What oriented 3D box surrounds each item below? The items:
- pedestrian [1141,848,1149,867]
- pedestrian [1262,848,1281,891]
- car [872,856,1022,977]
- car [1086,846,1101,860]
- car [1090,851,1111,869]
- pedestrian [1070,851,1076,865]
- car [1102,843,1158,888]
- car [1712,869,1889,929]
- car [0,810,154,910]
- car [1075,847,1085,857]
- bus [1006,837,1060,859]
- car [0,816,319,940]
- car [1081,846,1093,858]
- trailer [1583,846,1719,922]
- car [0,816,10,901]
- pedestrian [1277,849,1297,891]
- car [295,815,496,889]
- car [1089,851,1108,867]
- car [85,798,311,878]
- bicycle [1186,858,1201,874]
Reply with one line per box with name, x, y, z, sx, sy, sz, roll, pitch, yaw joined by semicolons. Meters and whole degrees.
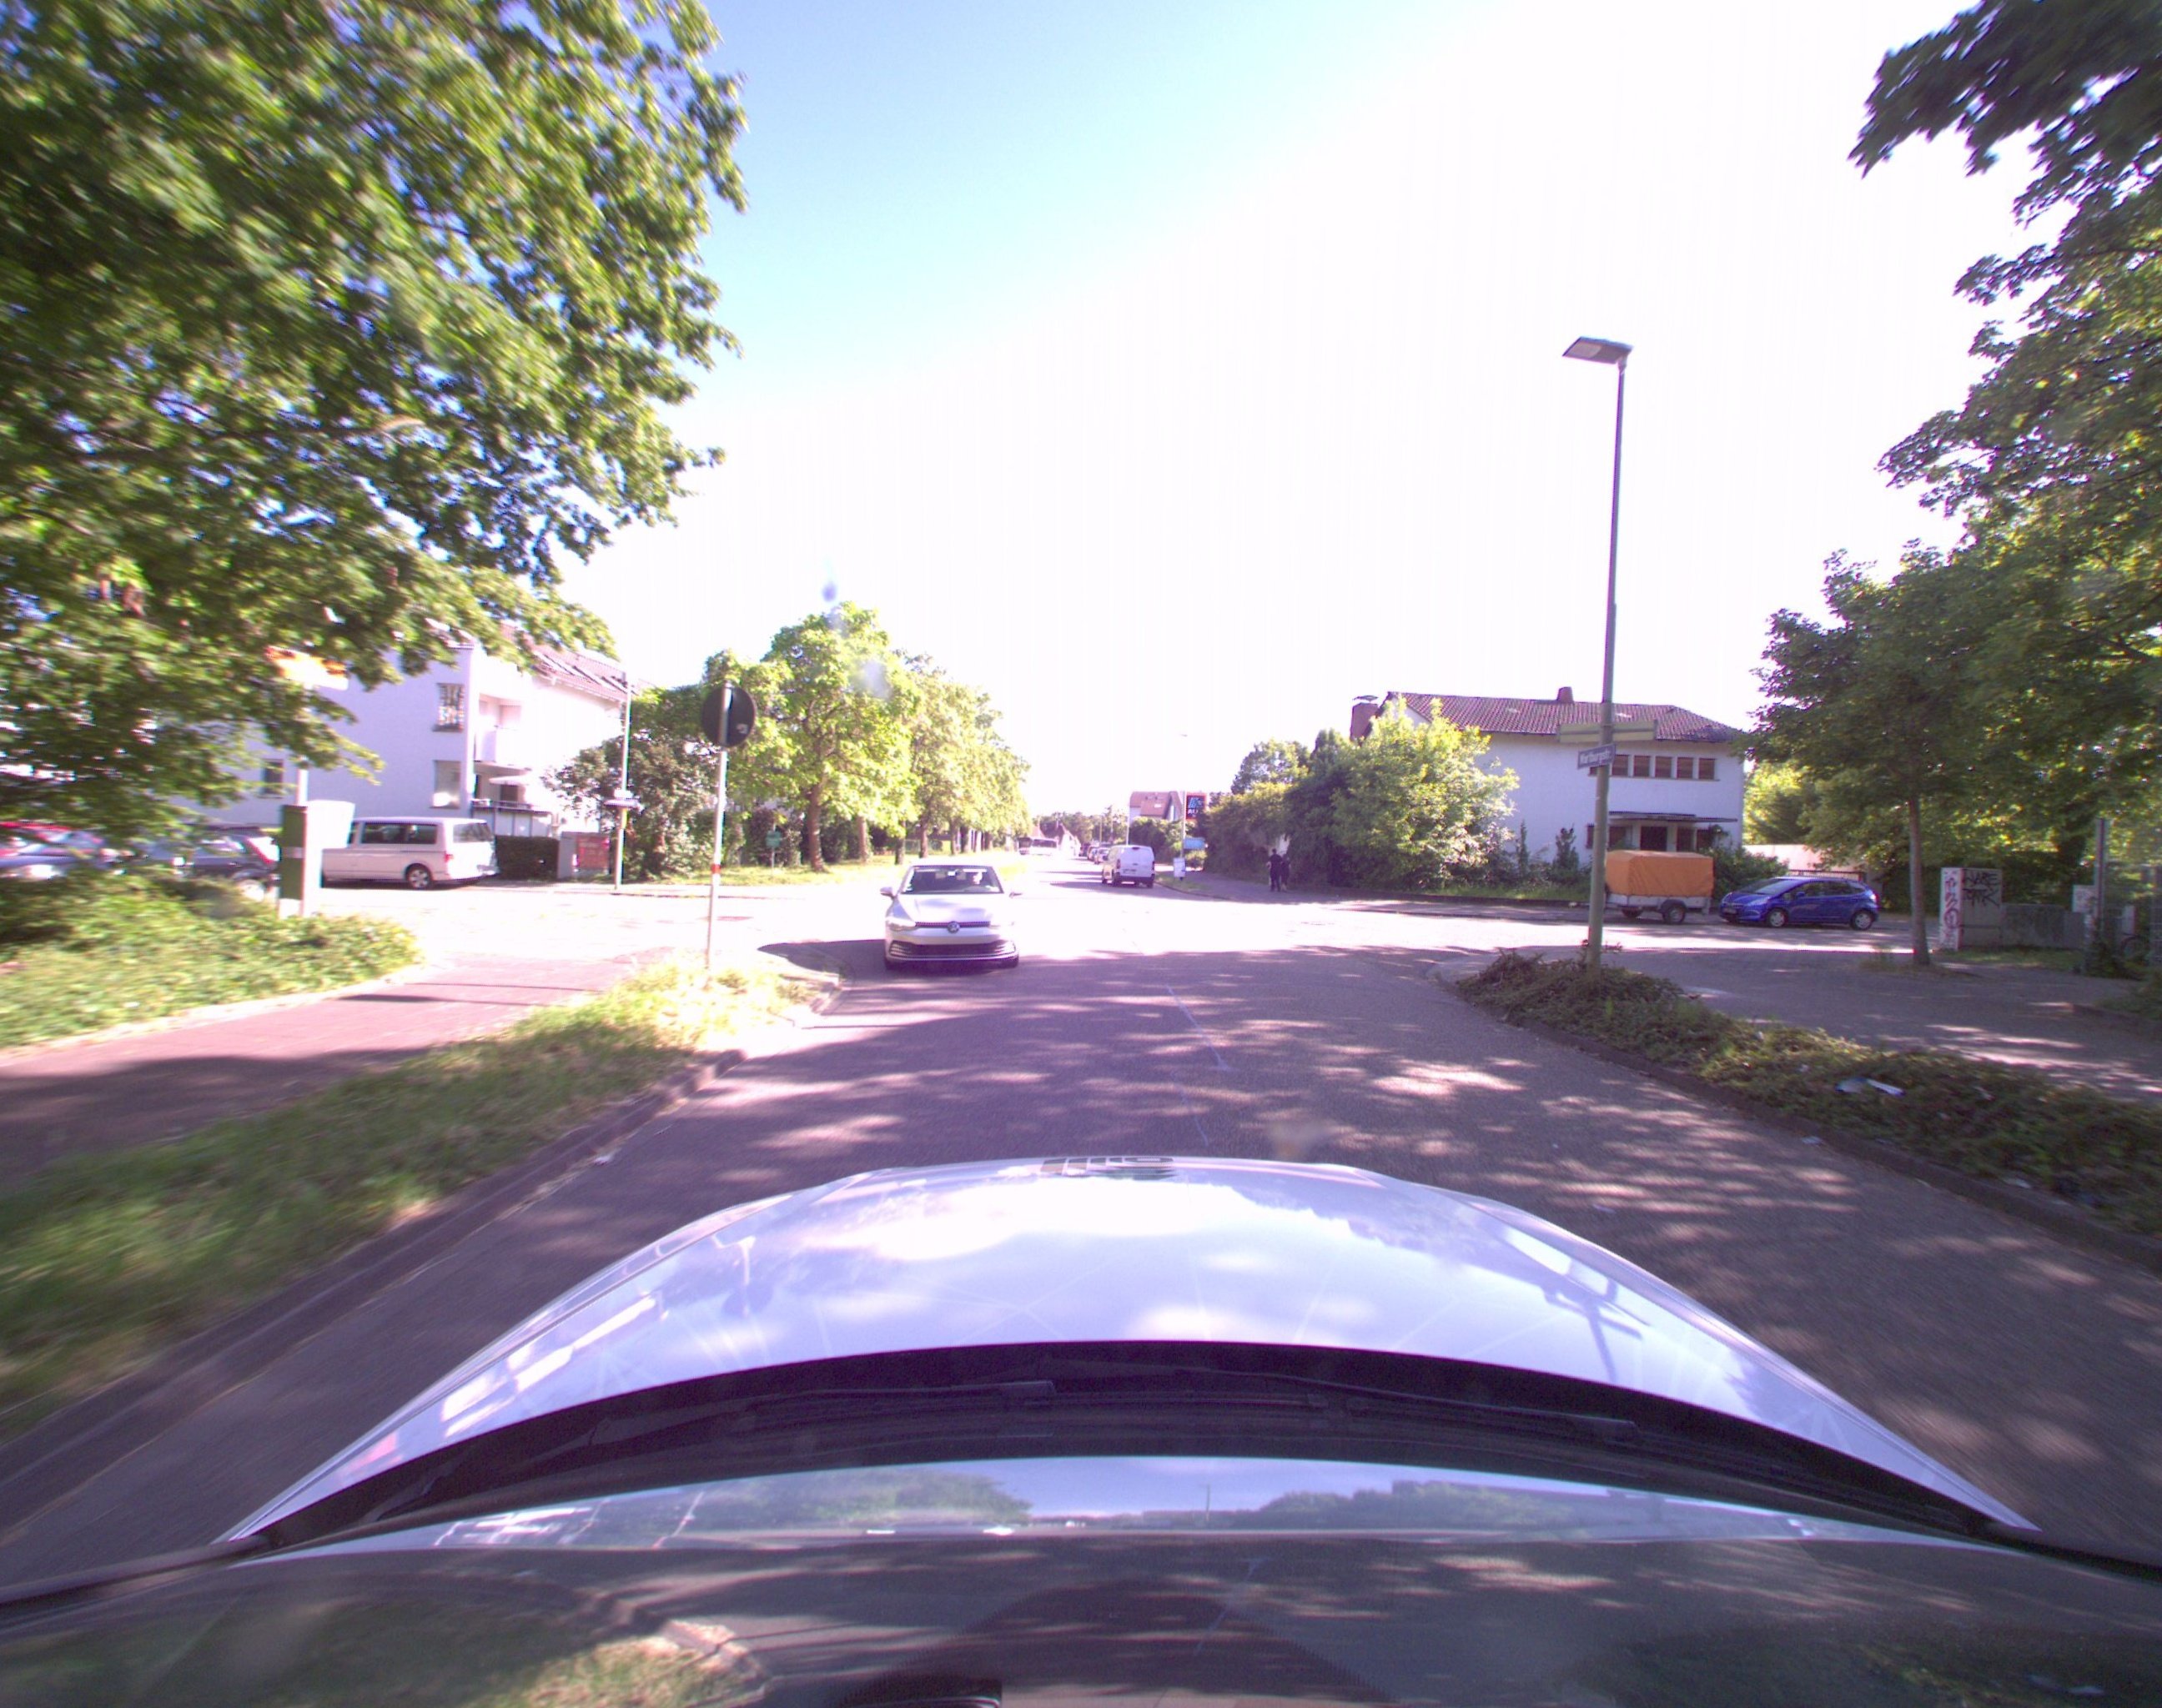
pedestrian;6.828;0.347;86.767;0.641;2.013;0.699;4;0;-8
pedestrian;7.633;0.609;32.628;0.569;1.682;0.513;2;0;-5
car;-1.935;0.762;11.920;1.805;1.420;3.947;0;0;-9
car;1.658;-0.126;106.746;1.776;1.808;3.997;1;0;-2
car;1.847;0.555;77.927;1.776;1.652;3.997;1;0;-2
pedestrian;-1.290;0.564;125.032;0.749;2.113;0.799;4;0;1
car;2.133;0.469;36.732;1.943;1.843;3.994;2;0;-4
car;21.311;1.304;24.204;3.888;1.557;1.587;2;0;-1
car;-18.791;0.094;13.831;1.667;1.652;3.858;0;0;0
car;-0.273;-0.404;159.675;1.776;1.808;3.997;1;0;-2
bus;-7.357;-0.898;127.005;4.028;3.349;9.856;1;0;25
car;-12.570;0.256;10.343;4.096;1.394;1.678;1;0;-1
car;1.029;-0.354;133.587;1.776;1.808;3.997;1;0;-2
trailer;16.961;0.864;24.323;2.936;2.116;1.609;2;0;-3
car;-21.395;0.080;13.554;1.667;1.633;4.121;0;0;0
pedestrian;8.293;0.643;32.854;0.570;1.682;0.512;2;0;-11
car;-19.017;-0.049;22.716;4.096;1.964;1.678;0;0;-1
car;1.908;0.527;89.279;1.776;1.652;3.997;1;0;-2
car;-23.881;-0.400;22.290;1.667;1.964;4.121;0;0;0
bicycle;7.762;0.828;56.333;0.632;1.027;2.174;4;0;17
